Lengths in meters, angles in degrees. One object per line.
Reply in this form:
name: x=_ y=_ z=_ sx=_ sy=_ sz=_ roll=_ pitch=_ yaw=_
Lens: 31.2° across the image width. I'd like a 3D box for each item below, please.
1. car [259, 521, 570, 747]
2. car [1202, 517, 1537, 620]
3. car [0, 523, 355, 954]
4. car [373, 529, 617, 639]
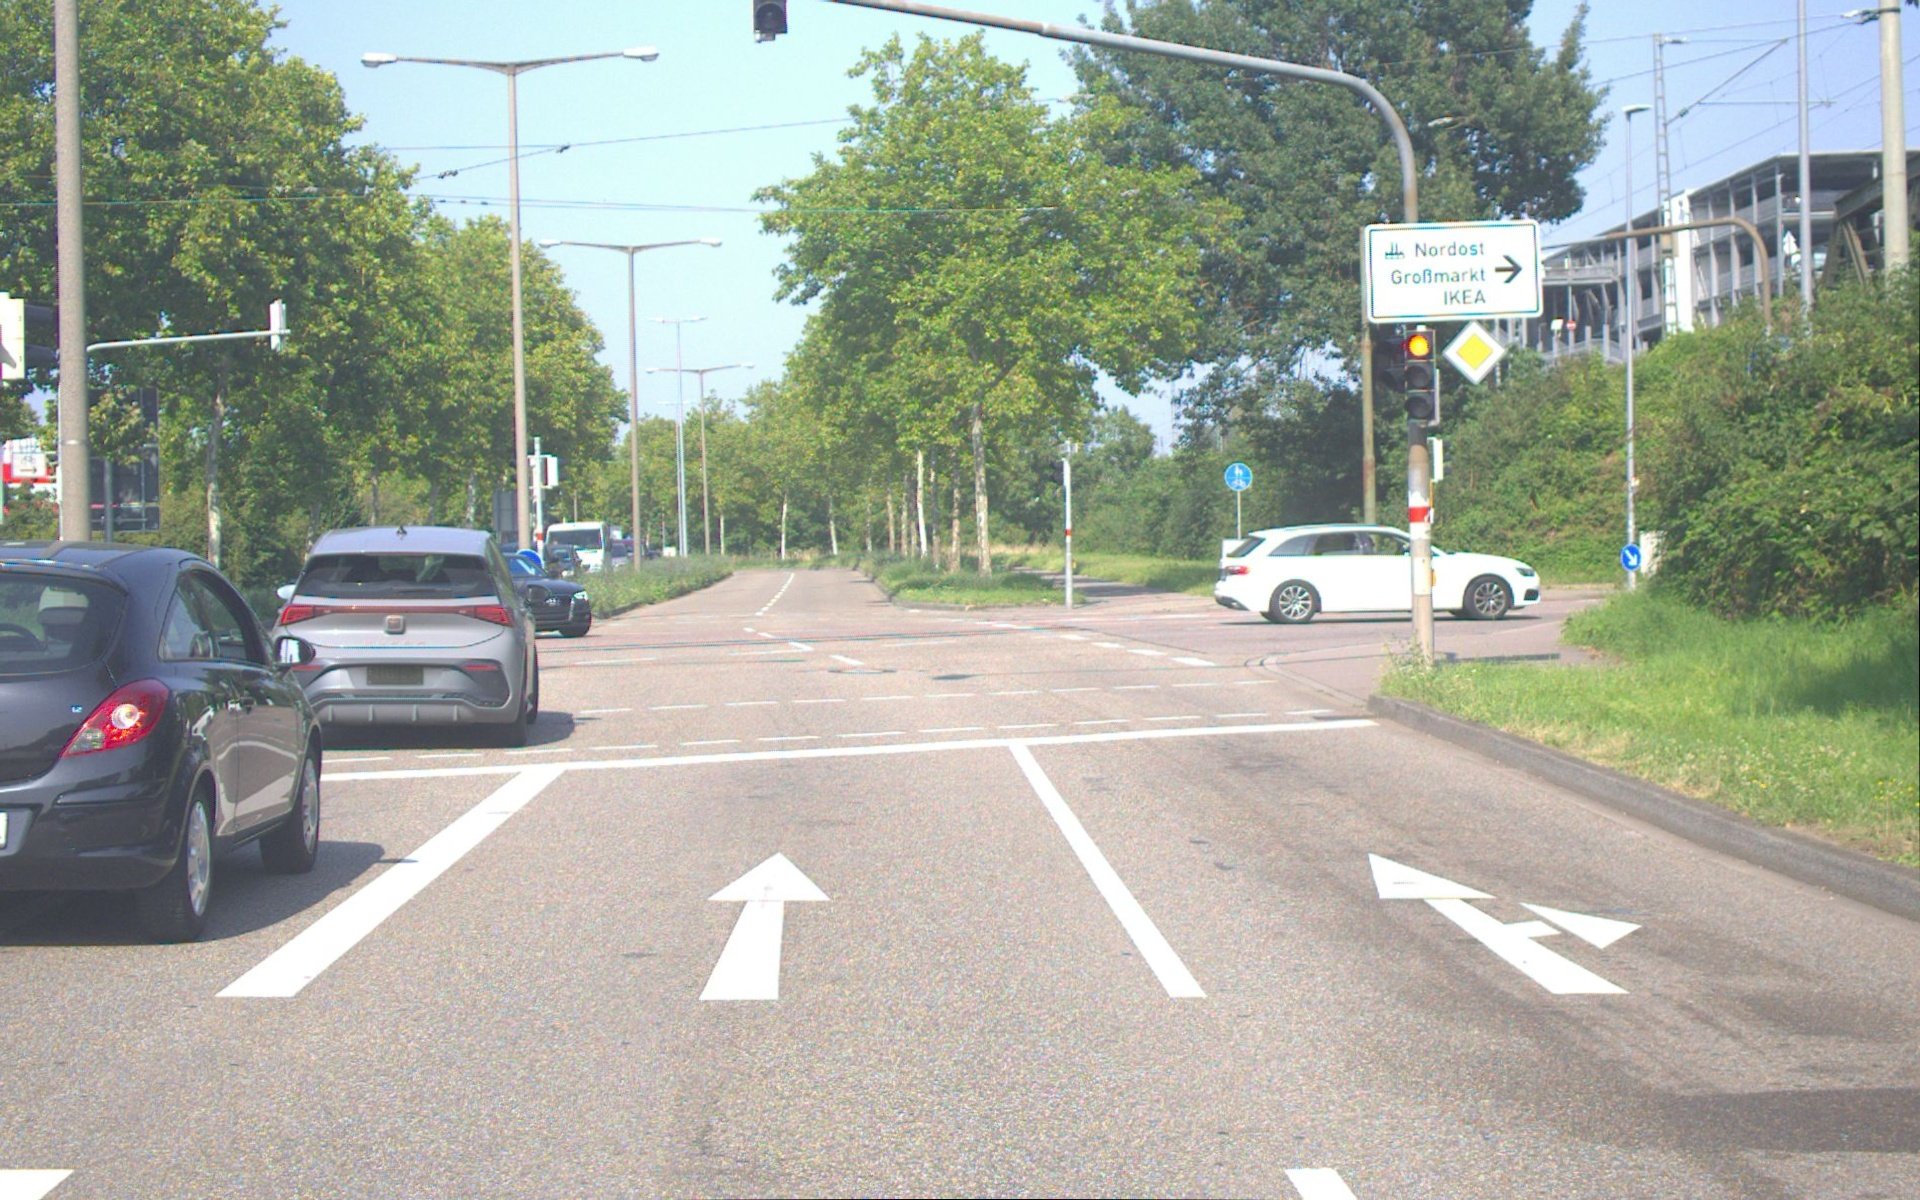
car: x=-3.859 y=0.188 z=24.901 sx=1.692 sy=1.480 sz=4.000 roll=-1 pitch=1 yaw=-2
car: x=5.974 y=-0.469 z=50.441 sx=4.607 sy=1.481 sz=1.698 roll=0 pitch=1 yaw=-6
car: x=-3.613 y=0.450 z=13.933 sx=1.692 sy=1.480 sz=4.001 roll=-1 pitch=1 yaw=-2
car: x=-7.315 y=-0.258 z=54.190 sx=3.426 sy=1.699 sz=1.666 roll=0 pitch=1 yaw=14
